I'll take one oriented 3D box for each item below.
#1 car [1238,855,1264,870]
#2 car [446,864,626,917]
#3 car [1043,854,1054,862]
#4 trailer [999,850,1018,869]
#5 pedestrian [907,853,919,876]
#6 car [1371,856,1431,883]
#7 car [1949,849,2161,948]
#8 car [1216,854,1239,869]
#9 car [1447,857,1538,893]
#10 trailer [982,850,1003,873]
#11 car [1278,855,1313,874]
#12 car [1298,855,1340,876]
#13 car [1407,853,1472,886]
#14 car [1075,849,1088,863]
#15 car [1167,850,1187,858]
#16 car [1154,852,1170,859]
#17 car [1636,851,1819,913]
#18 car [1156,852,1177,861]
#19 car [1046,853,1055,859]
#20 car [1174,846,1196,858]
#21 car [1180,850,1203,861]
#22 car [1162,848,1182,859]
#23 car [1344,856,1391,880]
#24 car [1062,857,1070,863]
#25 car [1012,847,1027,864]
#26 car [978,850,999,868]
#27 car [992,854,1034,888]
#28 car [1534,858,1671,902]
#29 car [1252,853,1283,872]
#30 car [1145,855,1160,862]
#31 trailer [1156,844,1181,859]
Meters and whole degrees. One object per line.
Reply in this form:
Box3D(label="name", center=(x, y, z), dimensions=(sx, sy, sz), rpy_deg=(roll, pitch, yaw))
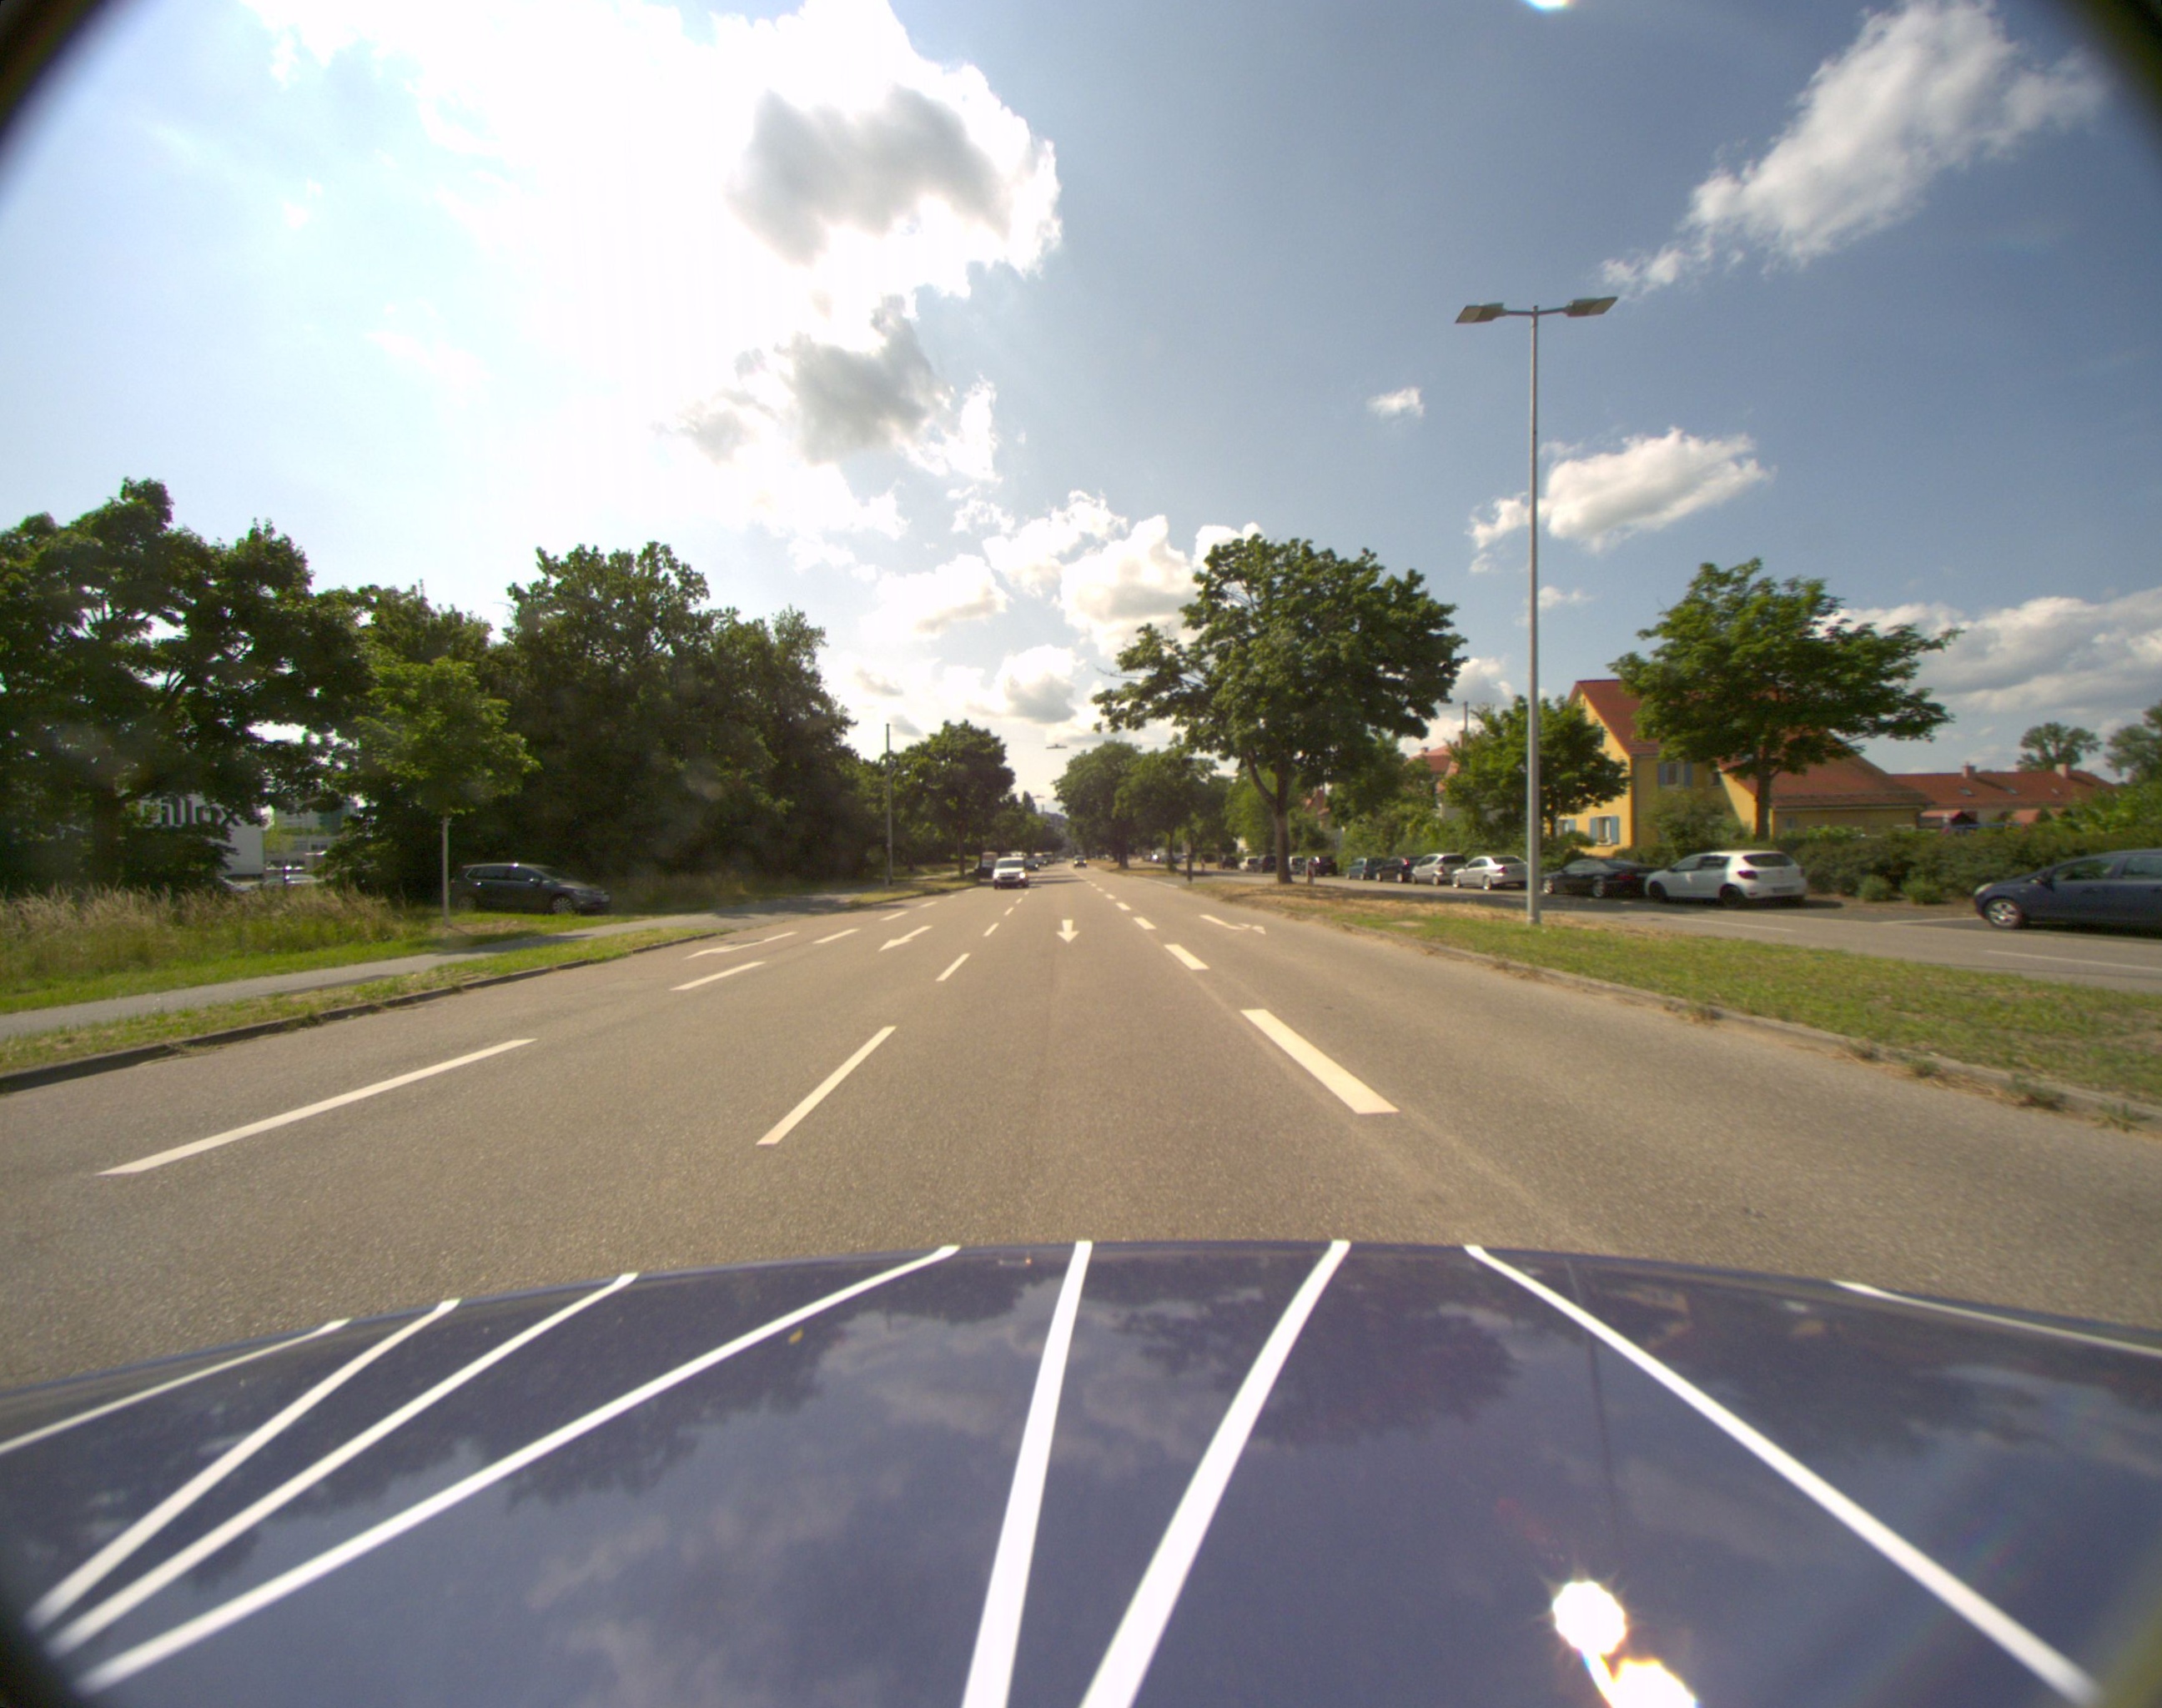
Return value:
Box3D(label="car", center=(17.336, 0.841, 77.620), dimensions=(1.598, 1.452, 3.534), rpy_deg=(-3, 1, -2))
Box3D(label="car", center=(-16.903, 1.137, 23.742), dimensions=(4.175, 1.484, 1.784), rpy_deg=(2, -2, -5))
Box3D(label="car", center=(-5.975, 0.797, 139.245), dimensions=(1.892, 1.281, 3.999), rpy_deg=(-3, 1, -2))
Box3D(label="trailer", center=(-9.655, 0.679, 101.659), dimensions=(1.999, 2.352, 4.781), rpy_deg=(3, 1, -1))
Box3D(label="pedestrian", center=(-13.548, 0.843, 61.347), dimensions=(0.719, 1.783, 0.740), rpy_deg=(-3, 1, -2))
Box3D(label="car", center=(17.927, 0.835, 42.787), dimensions=(1.406, 1.386, 4.356), rpy_deg=(-3, 0, -1))
Box3D(label="car", center=(18.039, 0.709, 13.070), dimensions=(1.640, 1.477, 3.992), rpy_deg=(-3, 1, 1))
Box3D(label="car", center=(17.000, 0.809, 88.211), dimensions=(1.772, 1.543, 3.999), rpy_deg=(-3, 1, -2))
Box3D(label="car", center=(17.854, 0.866, 33.246), dimensions=(1.514, 1.362, 4.531), rpy_deg=(-3, 0, 1))
Box3D(label="trailer", center=(-9.405, 0.796, 80.838), dimensions=(1.958, 2.338, 4.604), rpy_deg=(0, 0, -3))
Box3D(label="car", center=(17.863, 0.841, 63.514), dimensions=(1.665, 1.443, 3.845), rpy_deg=(-3, 1, -2))
Box3D(label="car", center=(17.766, 0.835, 56.857), dimensions=(1.665, 1.472, 4.103), rpy_deg=(-3, 0, -2))
Box3D(label="car", center=(18.048, 0.745, 38.441), dimensions=(1.406, 1.548, 3.741), rpy_deg=(-3, 0, -1))
Box3D(label="car", center=(0.140, 0.224, 109.339), dimensions=(1.768, 1.893, 4.540), rpy_deg=(-3, 1, 1))
Box3D(label="car", center=(18.572, 0.036, 146.710), dimensions=(4.007, 1.390, 1.569), rpy_deg=(-4, 1, -44))
Box3D(label="car", center=(18.887, 0.298, 177.227), dimensions=(1.668, 1.455, 3.827), rpy_deg=(-2, 1, 41))
Box3D(label="car", center=(18.096, 0.714, 21.560), dimensions=(1.693, 1.477, 4.123), rpy_deg=(-3, 1, 1))
Box3D(label="car", center=(17.247, 0.488, 154.213), dimensions=(3.997, 1.502, 1.800), rpy_deg=(-3, 1, -1))
Box3D(label="car", center=(-6.512, 0.396, 161.758), dimensions=(1.892, 1.281, 3.999), rpy_deg=(-3, 1, -2))
Box3D(label="car", center=(19.212, -0.349, 140.614), dimensions=(4.007, 2.002, 1.800), rpy_deg=(-4, 1, -44))
Box3D(label="car", center=(19.112, 0.286, 130.989), dimensions=(4.008, 1.849, 1.800), rpy_deg=(-2, 0, -44))
Box3D(label="car", center=(17.894, -0.133, 149.397), dimensions=(4.007, 2.002, 1.800), rpy_deg=(-4, 1, -44))
Box3D(label="car", center=(18.014, 0.852, 47.954), dimensions=(1.566, 1.387, 3.476), rpy_deg=(-3, 1, -1))
Box3D(label="car", center=(-4.030, 1.576, 205.484), dimensions=(1.799, 1.501, 4.000), rpy_deg=(-1, 0, 0))
Box3D(label="car", center=(-10.609, 0.282, 131.240), dimensions=(2.262, 2.786, 6.766), rpy_deg=(1, 1, -2))
Box3D(label="car", center=(-9.024, 0.476, 74.350), dimensions=(1.595, 1.681, 4.361), rpy_deg=(0, 1, -1))
Box3D(label="car", center=(-3.871, 0.962, 43.885), dimensions=(1.935, 1.774, 4.715), rpy_deg=(-3, 0, 0))
Box3D(label="car", center=(18.023, 0.852, 26.557), dimensions=(1.640, 1.298, 4.584), rpy_deg=(-3, 0, 1))
Box3D(label="car", center=(17.420, 0.733, 71.113), dimensions=(1.665, 1.603, 4.313), rpy_deg=(-3, 1, -2))
Box3D(label="car", center=(17.577, 1.091, 185.716), dimensions=(1.668, 1.341, 3.827), rpy_deg=(-2, 1, 41))
Box3D(label="trailer", center=(19.233, -0.520, 166.265), dimensions=(2.820, 3.090, 5.764), rpy_deg=(-3, 0, 37))
